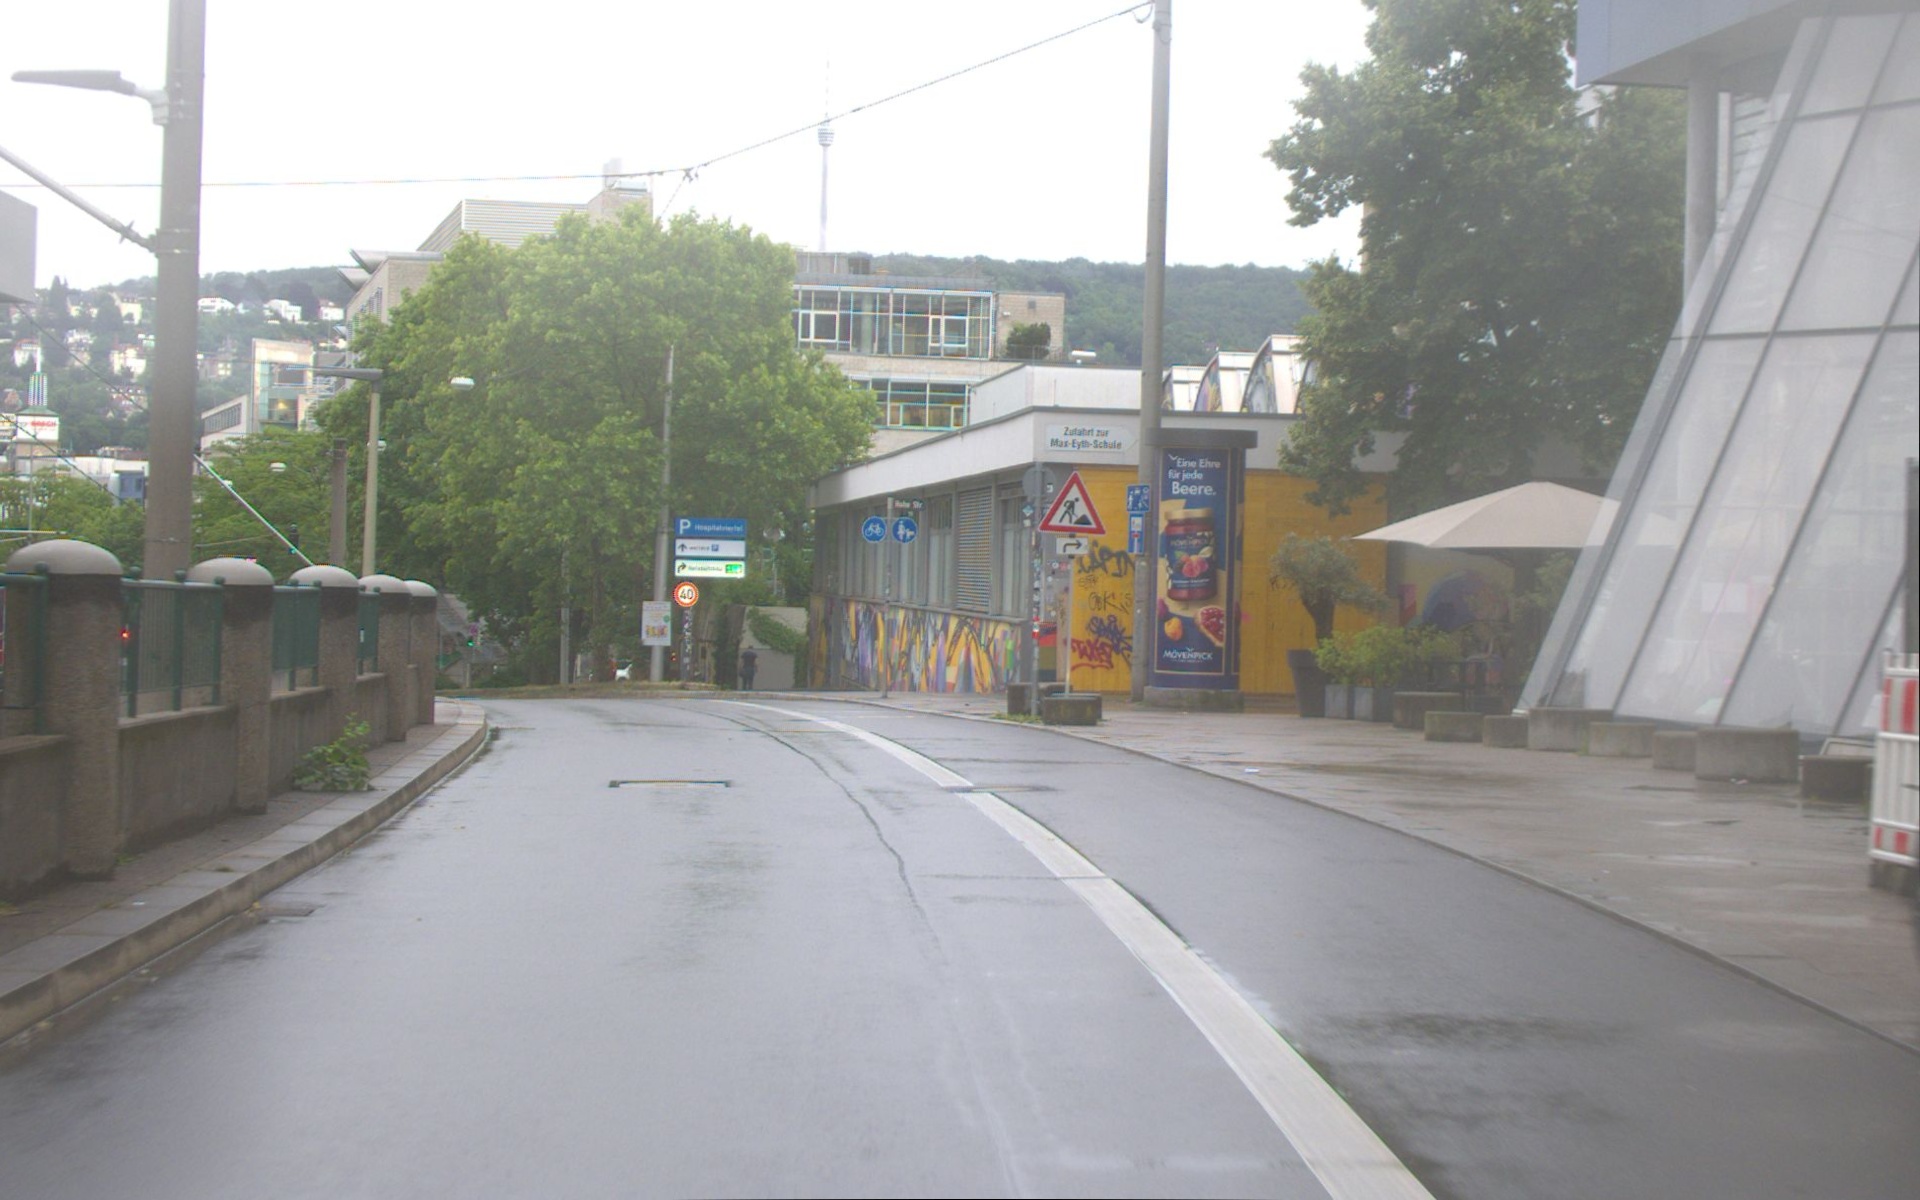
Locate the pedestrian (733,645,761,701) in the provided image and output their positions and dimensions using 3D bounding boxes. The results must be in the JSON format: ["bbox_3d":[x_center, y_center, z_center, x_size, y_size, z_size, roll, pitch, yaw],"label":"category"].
[{"bbox_3d":[-7.119,2.441,114.955,0.807,1.858,1.056,0,-1,-9],"label":"pedestrian"}]

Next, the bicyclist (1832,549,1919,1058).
[{"bbox_3d":[3.370,0.640,11.388,0.661,1.633,0.793,-3,0,-1],"label":"bicyclist"}]

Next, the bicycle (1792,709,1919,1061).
[{"bbox_3d":[3.372,0.933,11.459,0.661,1.049,2.057,-1,1,-1],"label":"bicycle"}]
